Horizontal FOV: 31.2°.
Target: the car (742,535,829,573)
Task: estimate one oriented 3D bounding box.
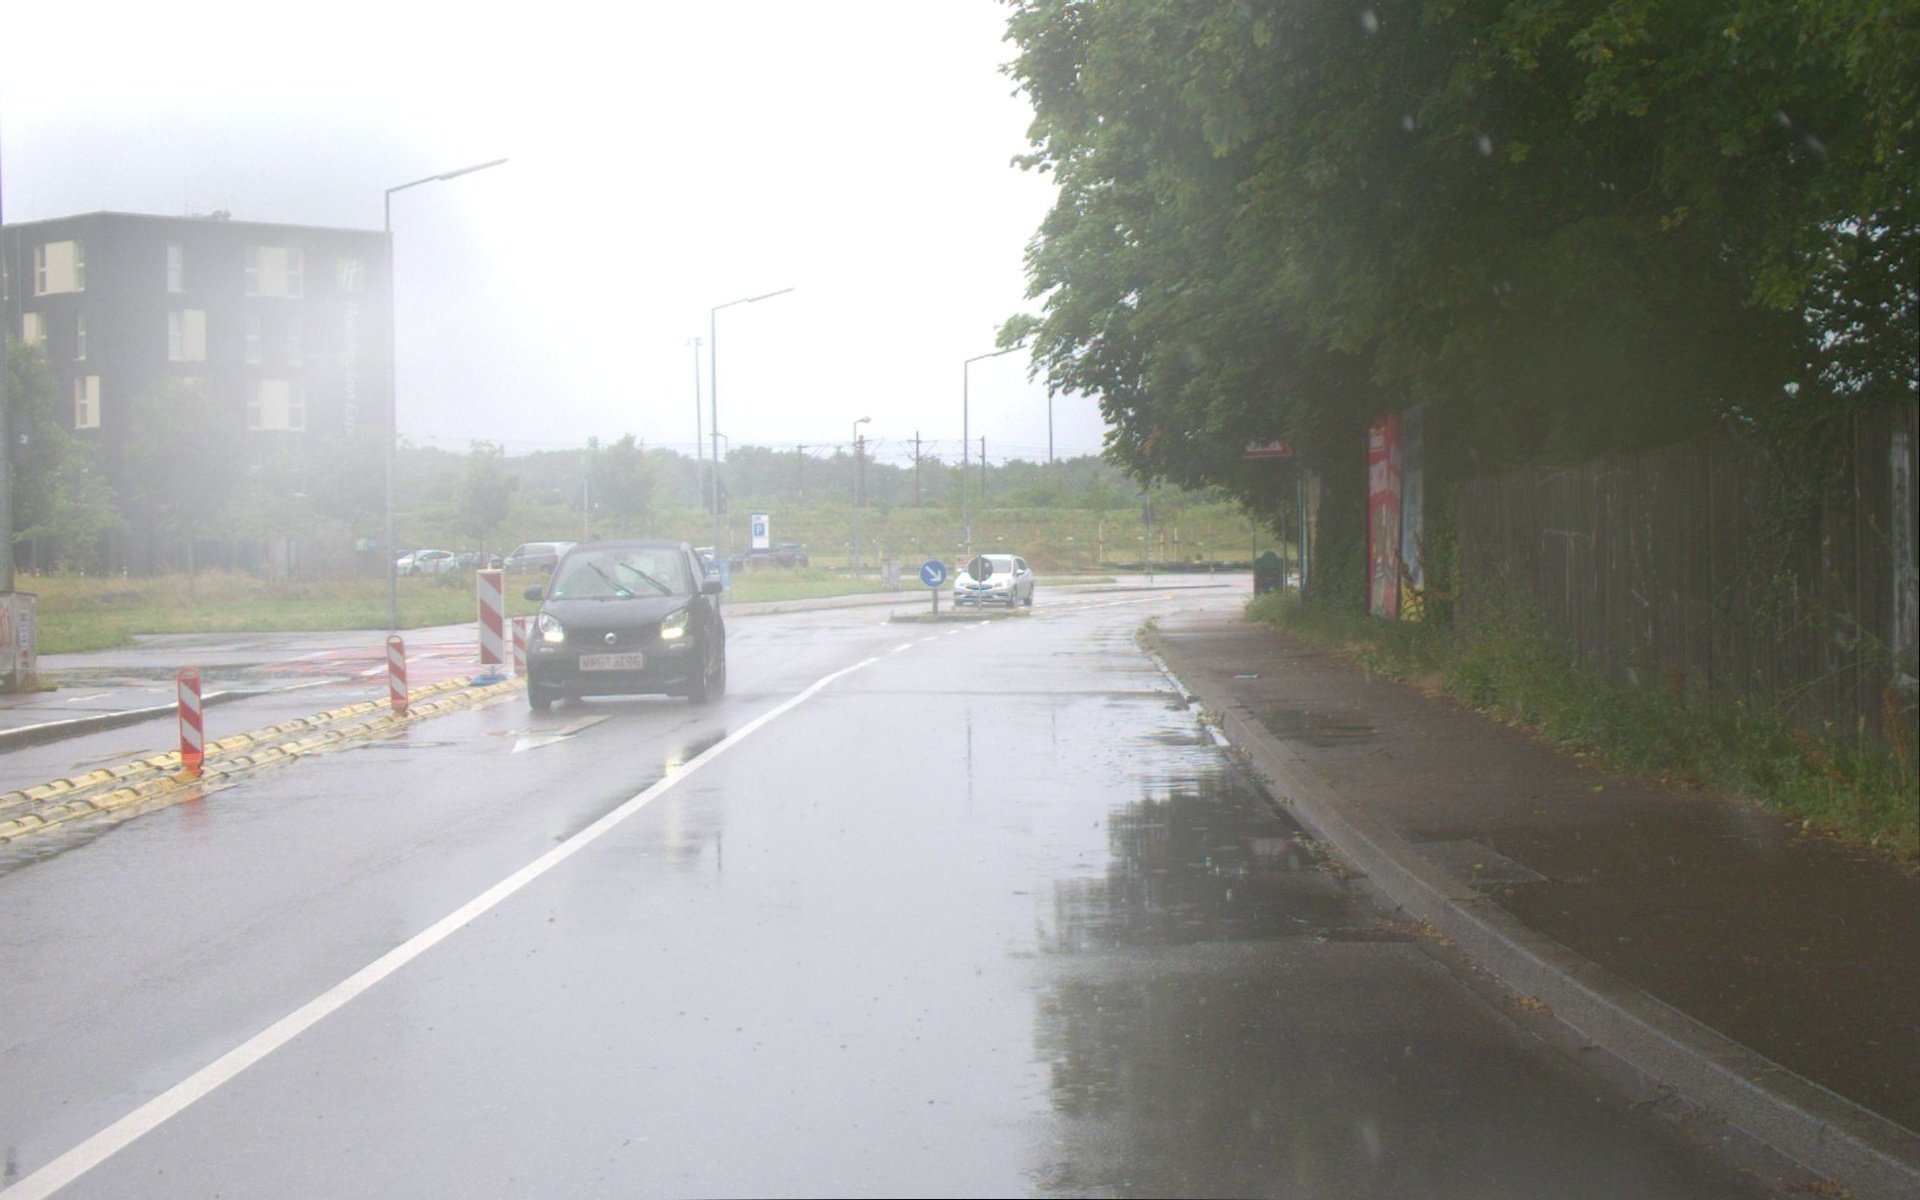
[{"bbox_3d":[-8.750,-2.286,172.561,3.989,1.766,1.999,1,-2,-43],"label":"car"}]

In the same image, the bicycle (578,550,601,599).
[{"bbox_3d":[-7.762,-0.549,72.107,0.427,1.016,1.612,0,1,-4],"label":"bicycle"}]

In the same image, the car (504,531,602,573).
[{"bbox_3d":[-18.333,-2.154,155.027,3.989,1.766,1.999,1,-2,-43],"label":"car"}]

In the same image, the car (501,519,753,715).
[{"bbox_3d":[-3.157,0.126,33.321,1.993,1.766,4.000,-1,1,1],"label":"car"}]

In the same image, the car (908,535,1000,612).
[{"bbox_3d":[-0.133,-0.629,84.437,1.994,1.766,3.999,-1,-1,4],"label":"car"}]

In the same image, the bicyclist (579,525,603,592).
[{"bbox_3d":[-7.747,-0.872,72.187,0.444,1.399,0.550,0,-1,-2],"label":"bicyclist"}]

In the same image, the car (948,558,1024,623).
[{"bbox_3d":[0.790,-0.259,100.459,1.994,1.766,3.999,-1,-1,4],"label":"car"}]
